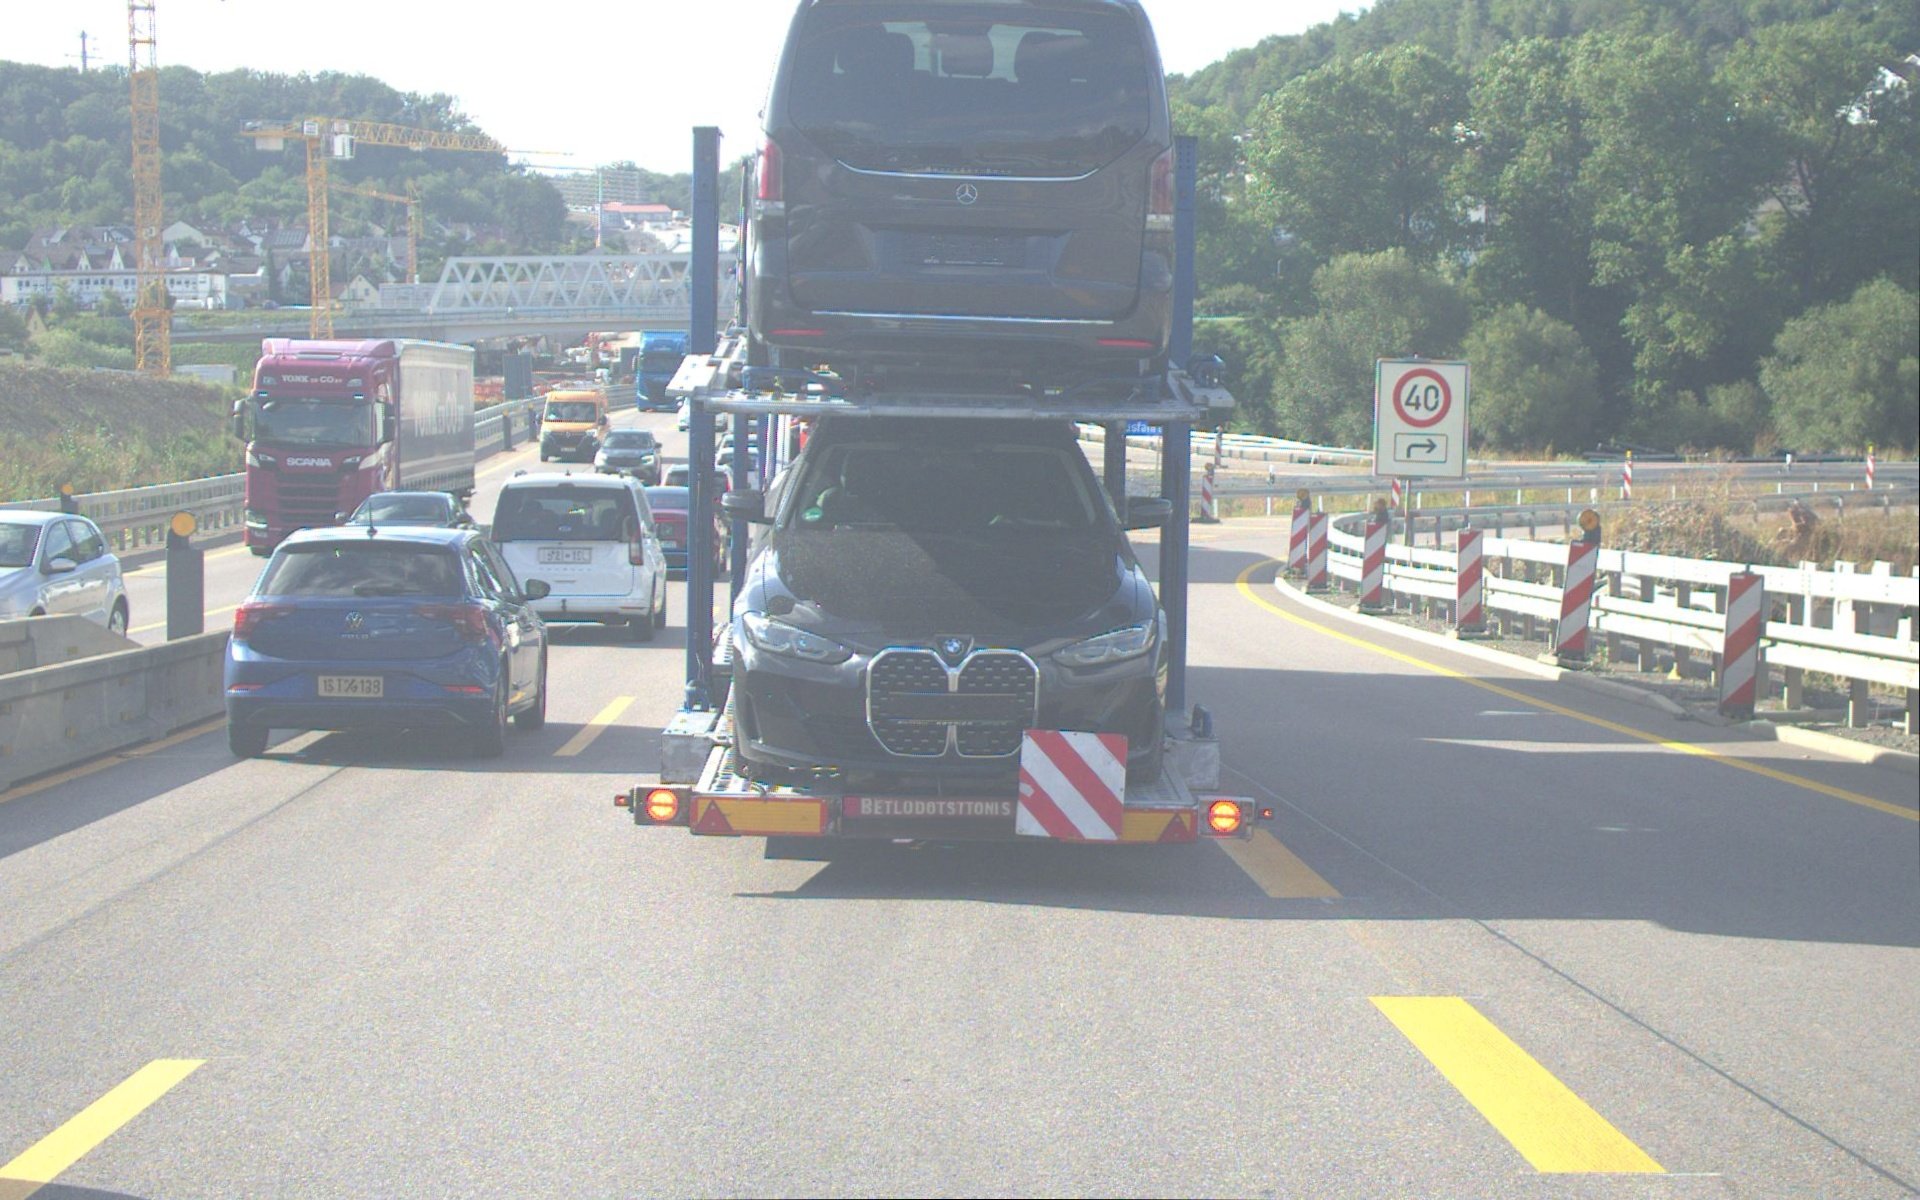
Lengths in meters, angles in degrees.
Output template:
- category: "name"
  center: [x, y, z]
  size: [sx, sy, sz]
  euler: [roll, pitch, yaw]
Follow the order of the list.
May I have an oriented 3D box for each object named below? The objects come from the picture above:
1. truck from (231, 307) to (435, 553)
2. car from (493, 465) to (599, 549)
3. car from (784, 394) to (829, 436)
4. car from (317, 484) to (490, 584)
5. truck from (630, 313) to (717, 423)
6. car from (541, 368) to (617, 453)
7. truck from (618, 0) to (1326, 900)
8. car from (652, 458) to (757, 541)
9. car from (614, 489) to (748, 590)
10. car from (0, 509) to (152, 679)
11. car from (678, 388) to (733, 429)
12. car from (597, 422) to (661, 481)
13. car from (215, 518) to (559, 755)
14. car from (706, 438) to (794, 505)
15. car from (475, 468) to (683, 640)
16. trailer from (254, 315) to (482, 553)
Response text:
- category: "truck"
  center: [-11.884, -3.140, 65.682]
  size: [2.914, 4.372, 6.287]
  euler: [2, 1, -3]
- category: "car"
  center: [-8.557, -1.921, 71.384]
  size: [1.844, 1.642, 4.505]
  euler: [1, 1, -3]
- category: "car"
  center: [-6.690, -8.030, 149.491]
  size: [1.844, 1.642, 4.505]
  euler: [1, 1, -3]
- category: "car"
  center: [-8.470, -1.016, 52.646]
  size: [1.821, 1.435, 4.614]
  euler: [1, 1, 1]
- category: "truck"
  center: [-14.728, -11.882, 177.729]
  size: [2.822, 4.772, 13.053]
  euler: [1, 0, 2]
- category: "car"
  center: [-13.325, -6.652, 120.473]
  size: [1.993, 2.869, 6.065]
  euler: [1, 3, 0]
- category: "truck"
  center: [-0.210, -1.101, 23.136]
  size: [2.753, 3.941, 18.892]
  euler: [1, 2, -2]
- category: "car"
  center: [-5.229, -2.045, 70.776]
  size: [1.993, 1.547, 4.000]
  euler: [1, 0, -2]
- category: "car"
  center: [-4.543, -0.958, 56.553]
  size: [1.993, 1.551, 4.401]
  euler: [1, 0, -2]
- category: "car"
  center: [-8.722, -0.103, 30.990]
  size: [1.754, 1.435, 3.804]
  euler: [1, 1, 4]
- category: "car"
  center: [-10.813, -8.131, 146.297]
  size: [1.993, 1.678, 4.001]
  euler: [1, 3, 1]
- category: "car"
  center: [-9.939, -4.450, 103.414]
  size: [1.844, 1.642, 4.237]
  euler: [1, 1, -5]
- category: "car"
  center: [-3.681, 0.202, 22.681]
  size: [1.722, 1.417, 4.000]
  euler: [0, 0, -2]
- category: "car"
  center: [-5.405, -3.296, 88.756]
  size: [1.993, 1.660, 4.000]
  euler: [1, 1, 0]
- category: "car"
  center: [-4.181, -0.482, 38.265]
  size: [1.823, 1.786, 4.000]
  euler: [1, 0, 0]
- category: "trailer"
  center: [-12.194, -3.371, 72.141]
  size: [2.976, 4.407, 13.819]
  euler: [2, 2, -3]
